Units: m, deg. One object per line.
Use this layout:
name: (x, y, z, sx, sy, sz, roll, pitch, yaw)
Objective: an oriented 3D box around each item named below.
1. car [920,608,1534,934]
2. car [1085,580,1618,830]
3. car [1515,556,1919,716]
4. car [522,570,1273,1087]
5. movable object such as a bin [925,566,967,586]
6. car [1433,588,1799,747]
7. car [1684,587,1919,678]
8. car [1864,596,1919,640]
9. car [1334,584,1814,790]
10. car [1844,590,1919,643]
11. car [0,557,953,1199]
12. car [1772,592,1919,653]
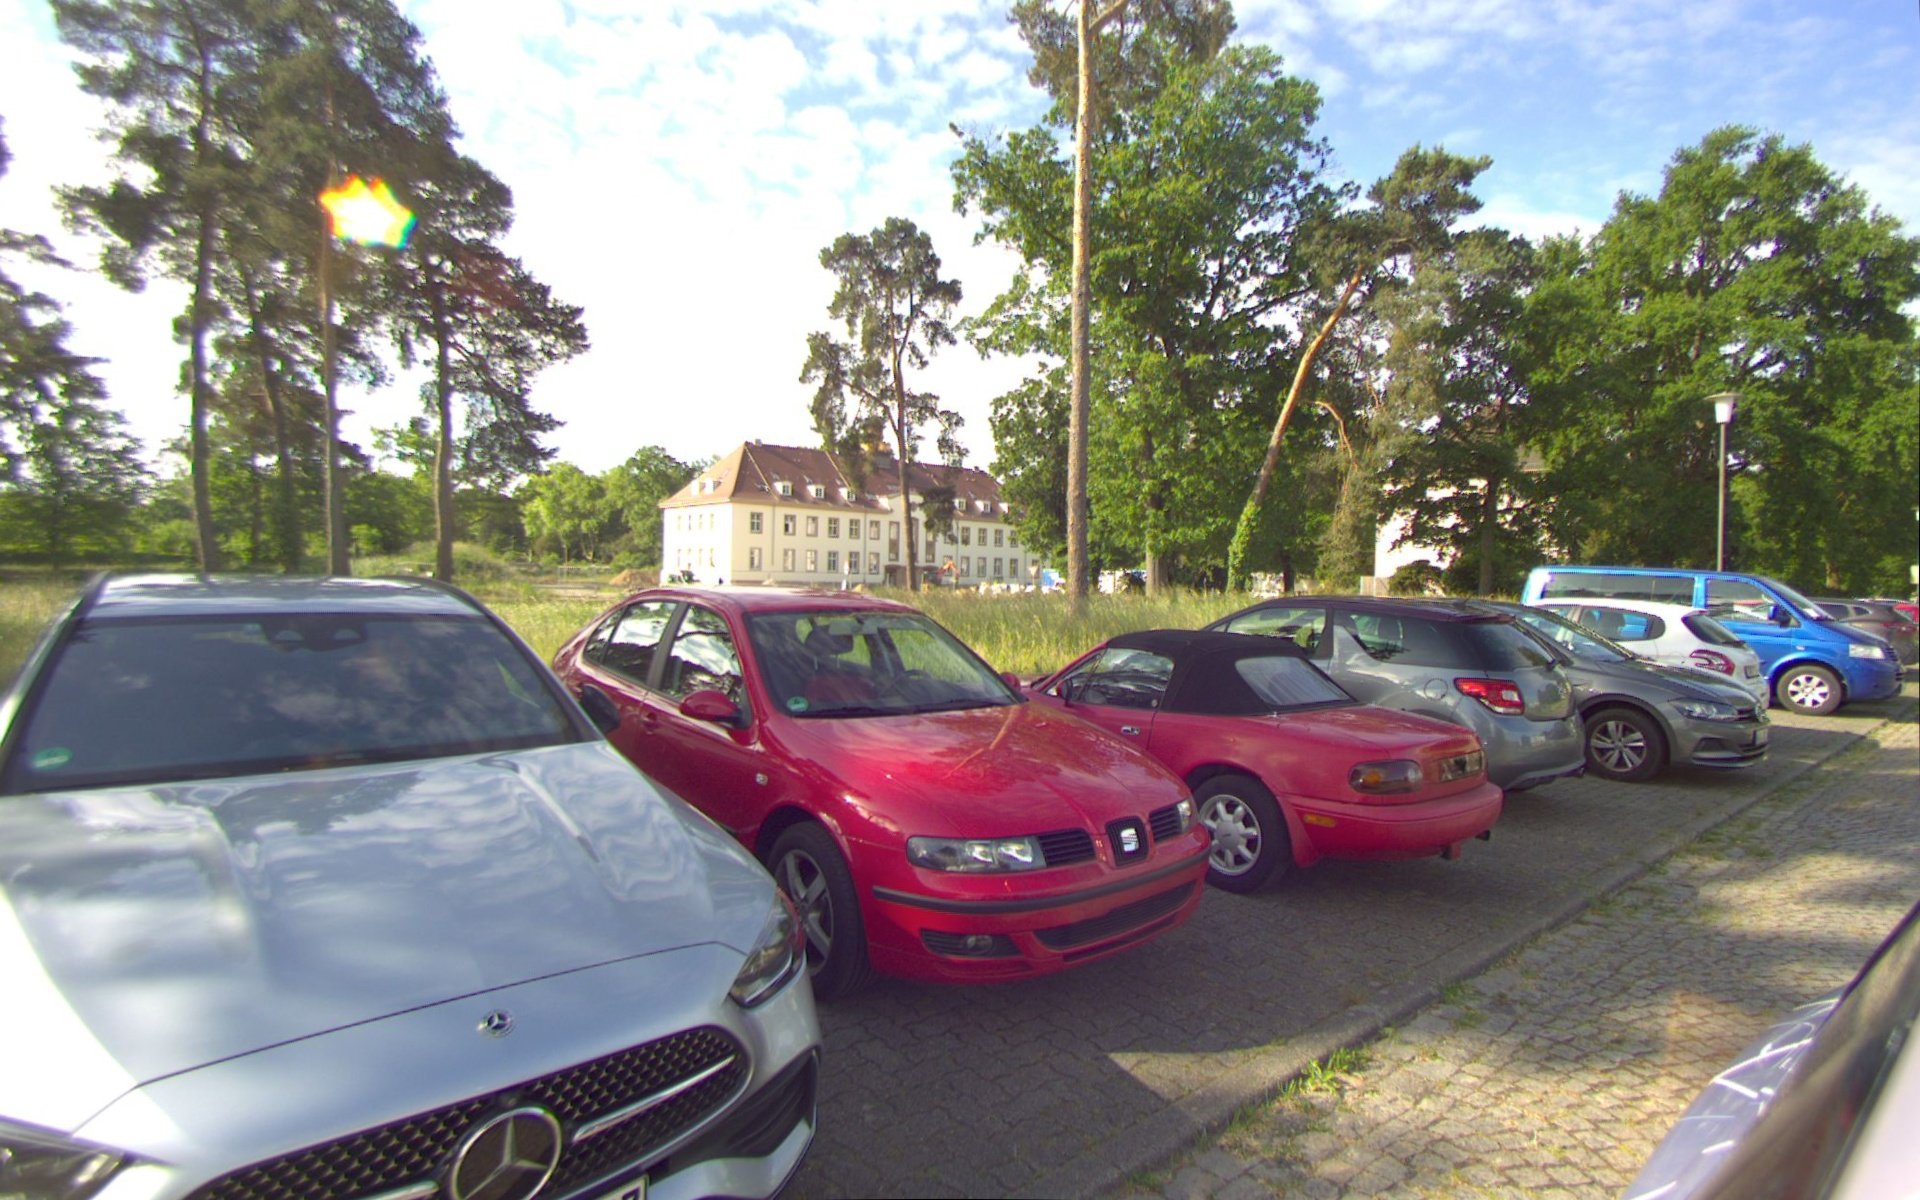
car: (1.353, 0.746, 6.067, 1.395, 1.271, 3.354, 0, 2, -41)
car: (2.952, 0.625, 8.262, 1.522, 1.509, 3.776, 0, 2, -41)
car: (11.351, 0.385, 15.353, 1.964, 2.039, 4.726, 0, 2, -39)
car: (-0.663, 0.627, 4.986, 1.632, 1.410, 3.916, 0, 3, -41)
movable object such as a bin: (-1.627, -2.805, 118.609, 4.905, 2.352, 1.995, 0, 2, -45)
car: (7.463, 0.657, 11.747, 1.423, 1.509, 3.265, 0, 1, -38)
car: (17.859, 0.595, 21.249, 1.724, 1.660, 3.998, 0, 2, -38)
car: (36.605, 0.655, 37.735, 1.724, 1.635, 3.998, -1, -1, -36)
car: (5.571, 0.643, 9.646, 1.478, 1.509, 3.630, 0, 1, -31)
car: (33.031, 0.560, 34.570, 1.725, 1.763, 3.996, -1, -1, -38)
car: (-2.158, 0.642, 3.394, 1.794, 1.419, 4.420, 0, 3, -41)
car: (25.343, 0.598, 28.159, 1.724, 1.537, 3.998, 0, 2, -38)
